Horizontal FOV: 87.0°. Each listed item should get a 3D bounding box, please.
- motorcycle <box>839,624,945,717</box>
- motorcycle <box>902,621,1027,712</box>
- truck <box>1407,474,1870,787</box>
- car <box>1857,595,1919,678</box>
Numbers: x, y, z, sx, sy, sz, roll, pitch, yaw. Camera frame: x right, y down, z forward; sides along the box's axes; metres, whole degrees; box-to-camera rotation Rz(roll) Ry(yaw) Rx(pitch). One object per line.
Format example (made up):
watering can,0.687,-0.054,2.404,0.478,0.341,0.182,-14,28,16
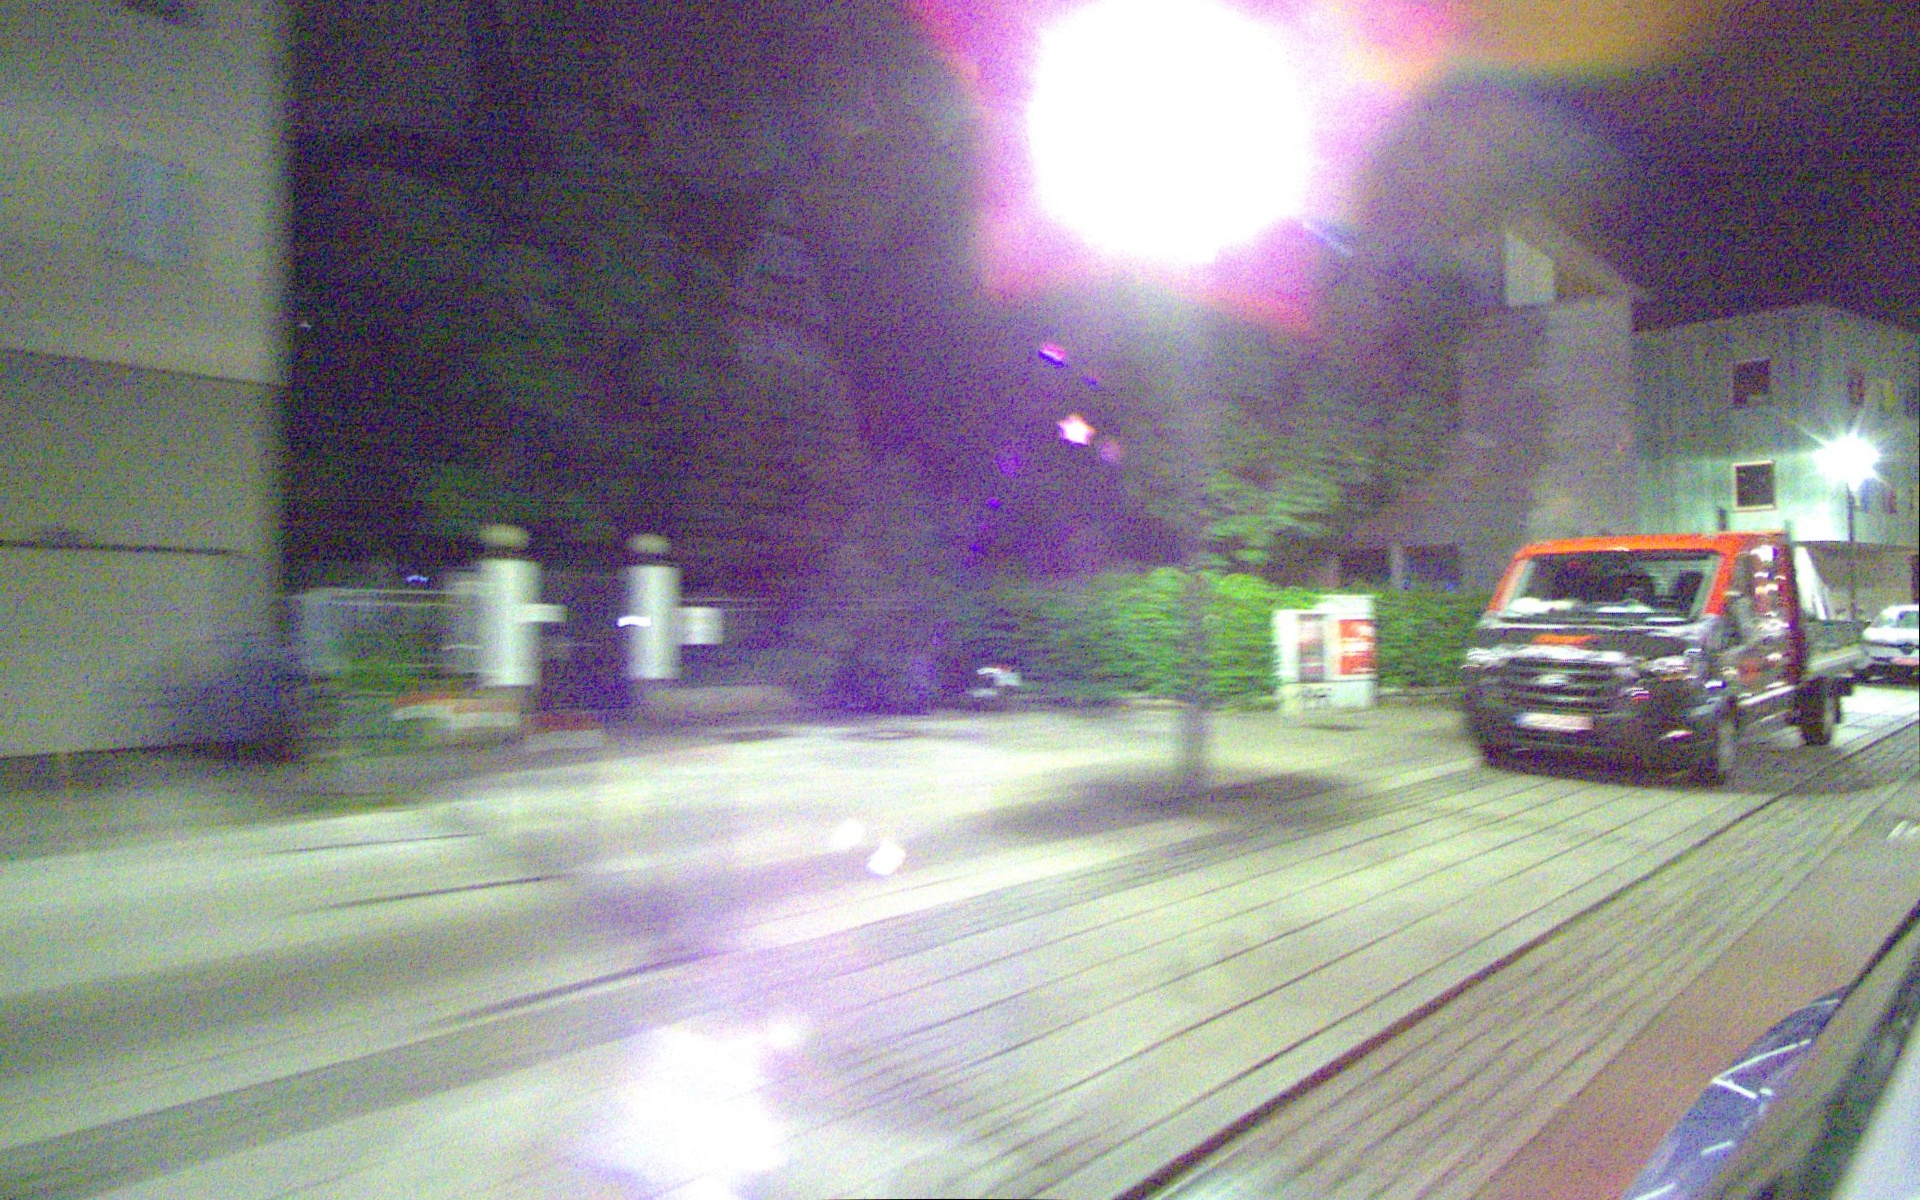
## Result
motorcycle,-0.968,0.946,14.071,0.551,1.201,1.630,1,-1,-44
motorcycle,0.035,0.909,14.489,0.551,1.201,2.018,1,-1,-44
truck,7.089,0.242,10.284,5.676,2.341,2.341,0,-1,-39
car,19.193,0.674,19.754,3.984,1.510,1.794,0,0,-37
